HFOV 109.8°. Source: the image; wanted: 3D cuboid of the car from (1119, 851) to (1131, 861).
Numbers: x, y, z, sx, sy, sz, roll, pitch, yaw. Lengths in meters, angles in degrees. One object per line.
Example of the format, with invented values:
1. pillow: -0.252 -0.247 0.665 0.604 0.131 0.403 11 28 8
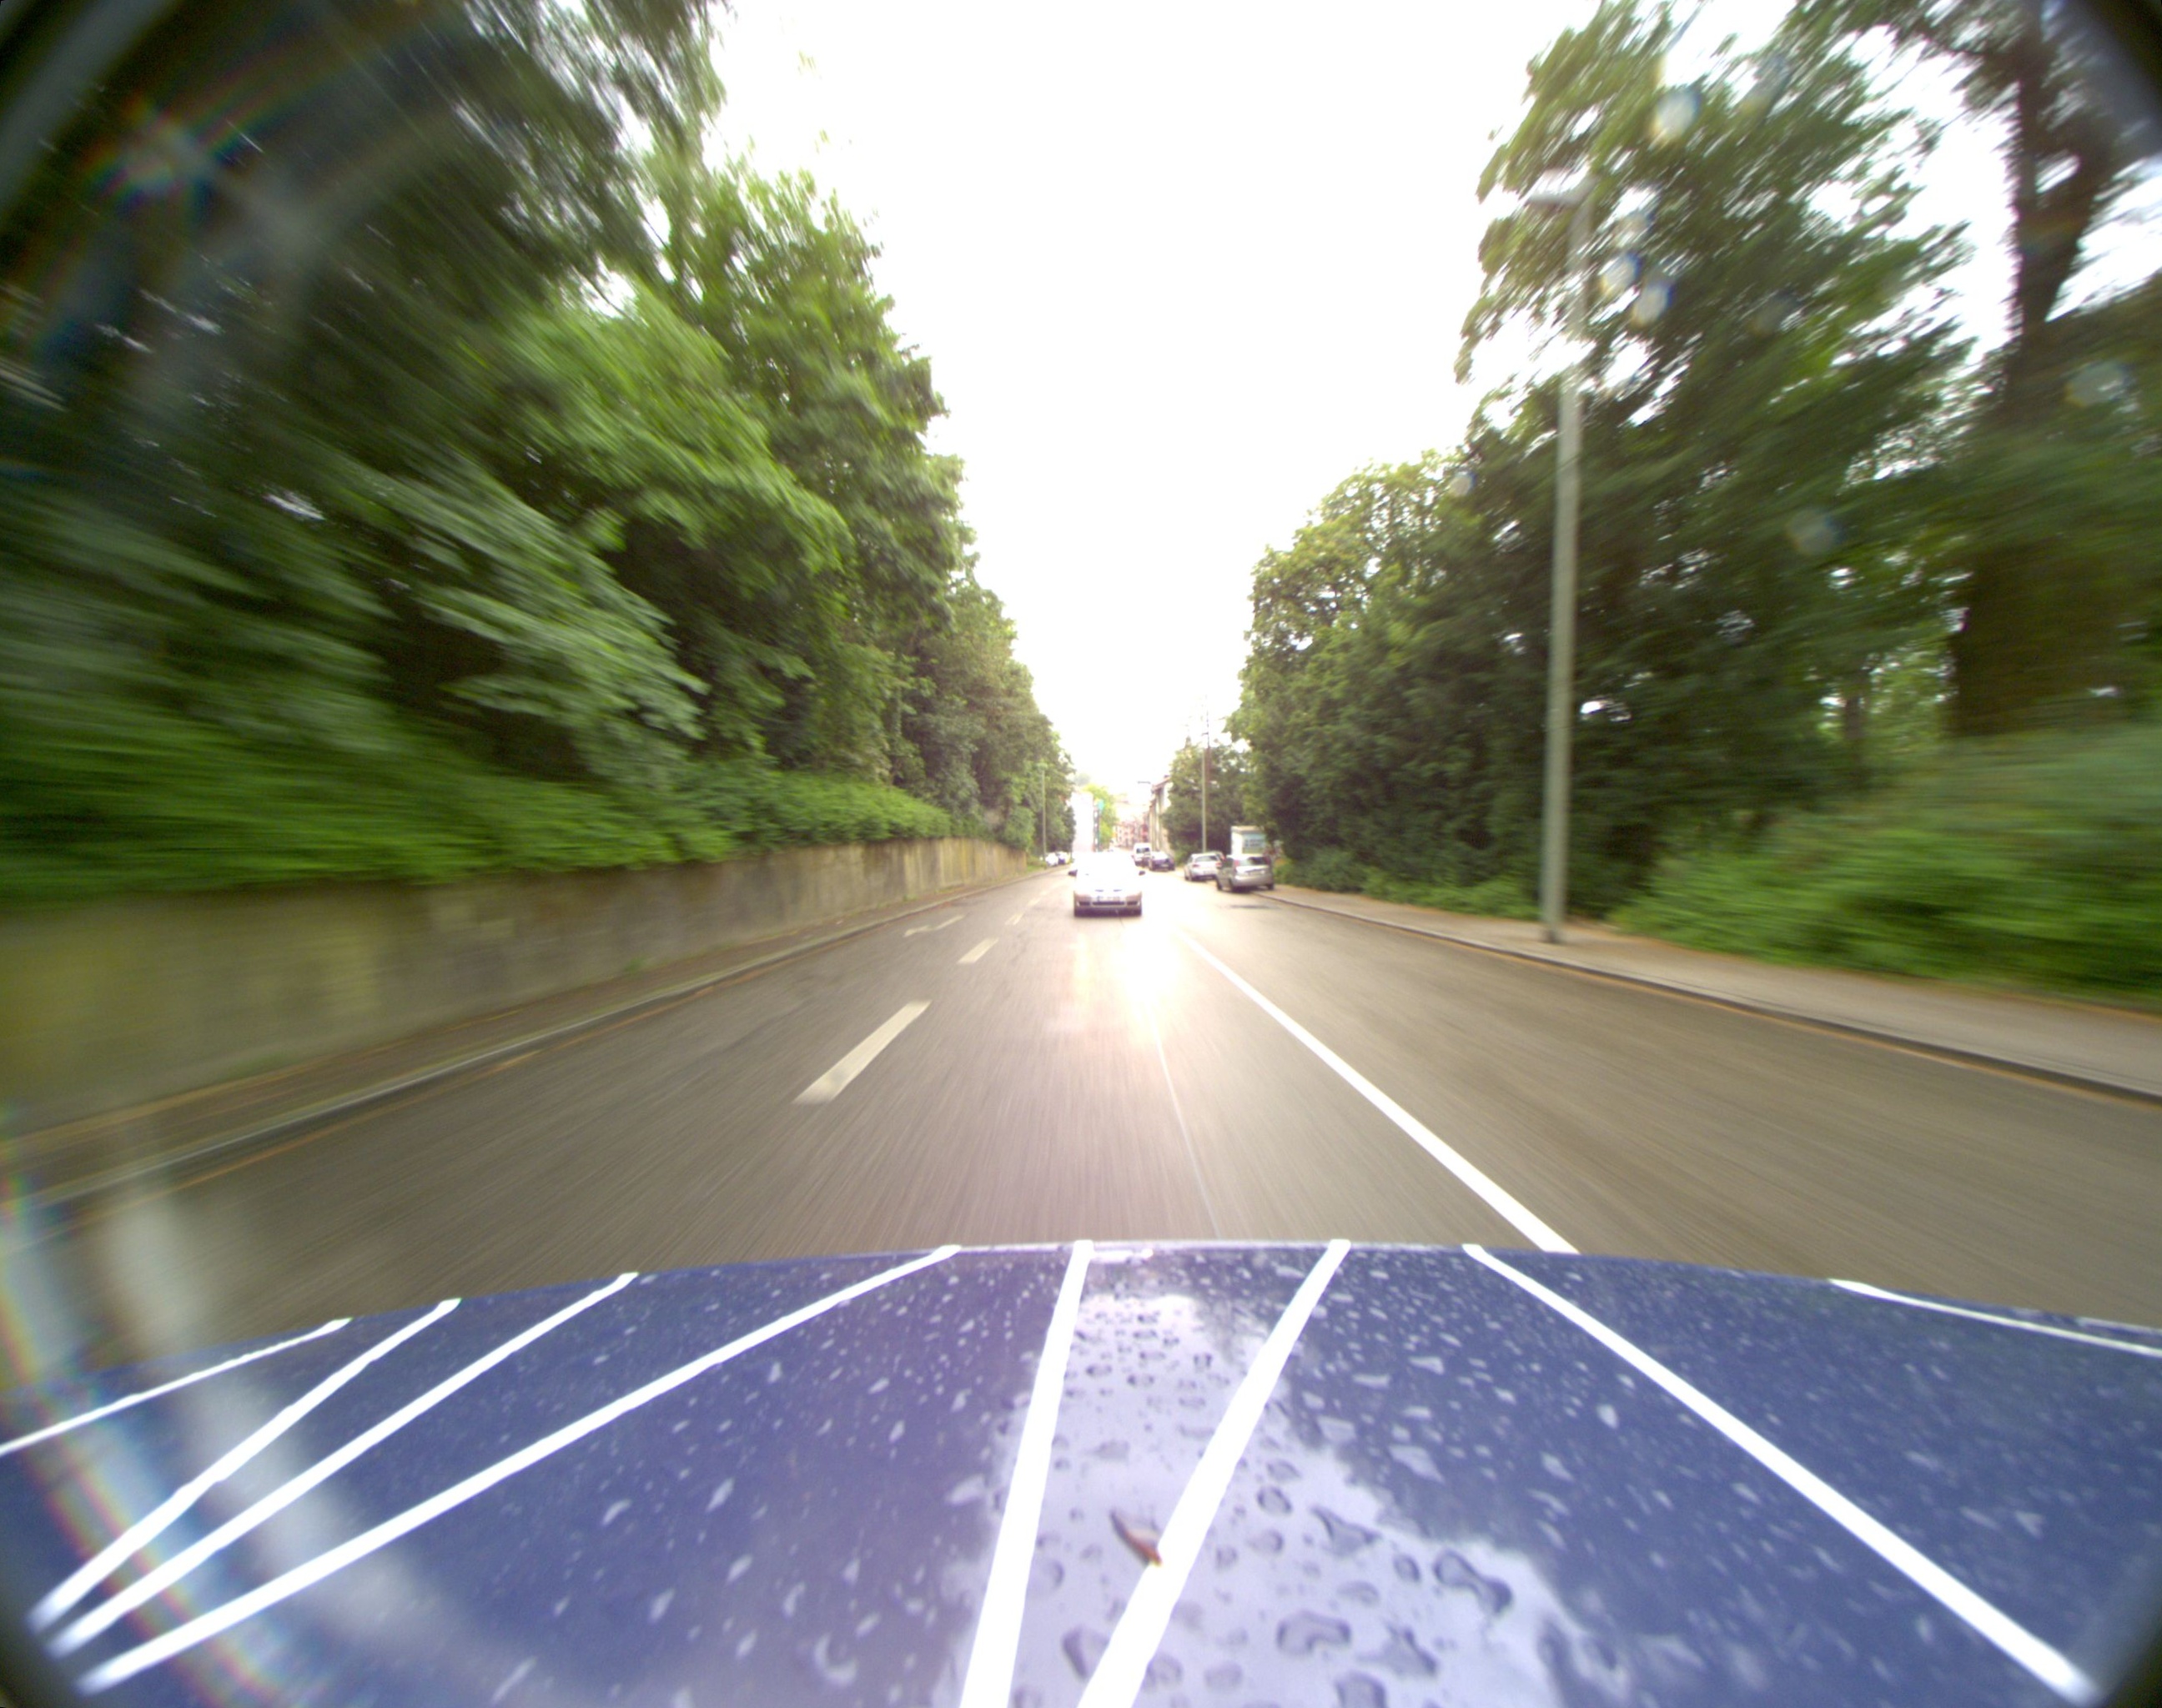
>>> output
1. car: 6.902 0.308 120.030 1.765 1.482 4.001 -2 0 4

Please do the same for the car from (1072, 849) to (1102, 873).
1. car: 0.479 0.494 55.521 1.998 1.603 3.967 -1 1 3

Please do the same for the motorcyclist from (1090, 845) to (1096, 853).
1. motorcyclist: 1.611 -0.663 104.682 0.778 1.120 0.549 -2 1 6

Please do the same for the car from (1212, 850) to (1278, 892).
1. car: 6.476 0.628 30.454 1.630 1.490 3.927 -3 0 -2

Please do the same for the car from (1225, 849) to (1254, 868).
1. car: 12.941 0.334 62.107 1.625 1.450 3.775 -1 0 1

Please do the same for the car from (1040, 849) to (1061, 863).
1. car: -3.310 0.247 84.186 1.742 1.469 4.741 1 0 4

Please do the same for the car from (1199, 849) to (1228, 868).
1. car: 10.820 0.353 62.318 1.727 1.450 4.396 -1 0 1

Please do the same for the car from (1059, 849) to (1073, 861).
1. car: -1.964 0.141 101.744 1.567 1.458 3.899 2 1 4

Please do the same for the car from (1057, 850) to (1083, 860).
1. car: -1.825 0.163 125.684 4.192 1.408 1.804 1 1 3

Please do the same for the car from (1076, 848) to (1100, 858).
1. car: 1.279 -0.192 139.216 4.192 1.565 1.804 2 1 3

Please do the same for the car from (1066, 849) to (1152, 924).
1. car: 0.811 0.720 19.024 1.825 1.603 4.190 -2 1 6

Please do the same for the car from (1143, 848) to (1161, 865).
1. car: 7.006 0.204 75.497 1.648 1.595 4.186 2 1 4

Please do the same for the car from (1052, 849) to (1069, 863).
1. car: -2.483 0.239 94.458 1.769 1.614 4.679 0 1 2

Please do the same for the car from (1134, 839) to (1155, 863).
1. car: 7.250 -0.360 86.900 2.122 2.536 5.445 1 1 3

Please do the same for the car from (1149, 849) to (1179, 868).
1. car: 6.805 0.341 62.778 1.864 1.485 4.755 2 0 0

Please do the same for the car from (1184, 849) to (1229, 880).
1. car: 6.881 0.548 42.059 1.891 1.602 4.239 1 0 1

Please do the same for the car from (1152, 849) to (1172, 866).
1. car: 7.376 0.297 69.684 1.659 1.560 4.149 0 0 4

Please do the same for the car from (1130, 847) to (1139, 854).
1. car: 12.166 -0.834 173.742 1.908 1.647 4.329 1 1 3

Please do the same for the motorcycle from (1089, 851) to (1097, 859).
1. motorcycle: 1.640 0.133 104.704 0.778 1.120 2.300 -2 1 6
